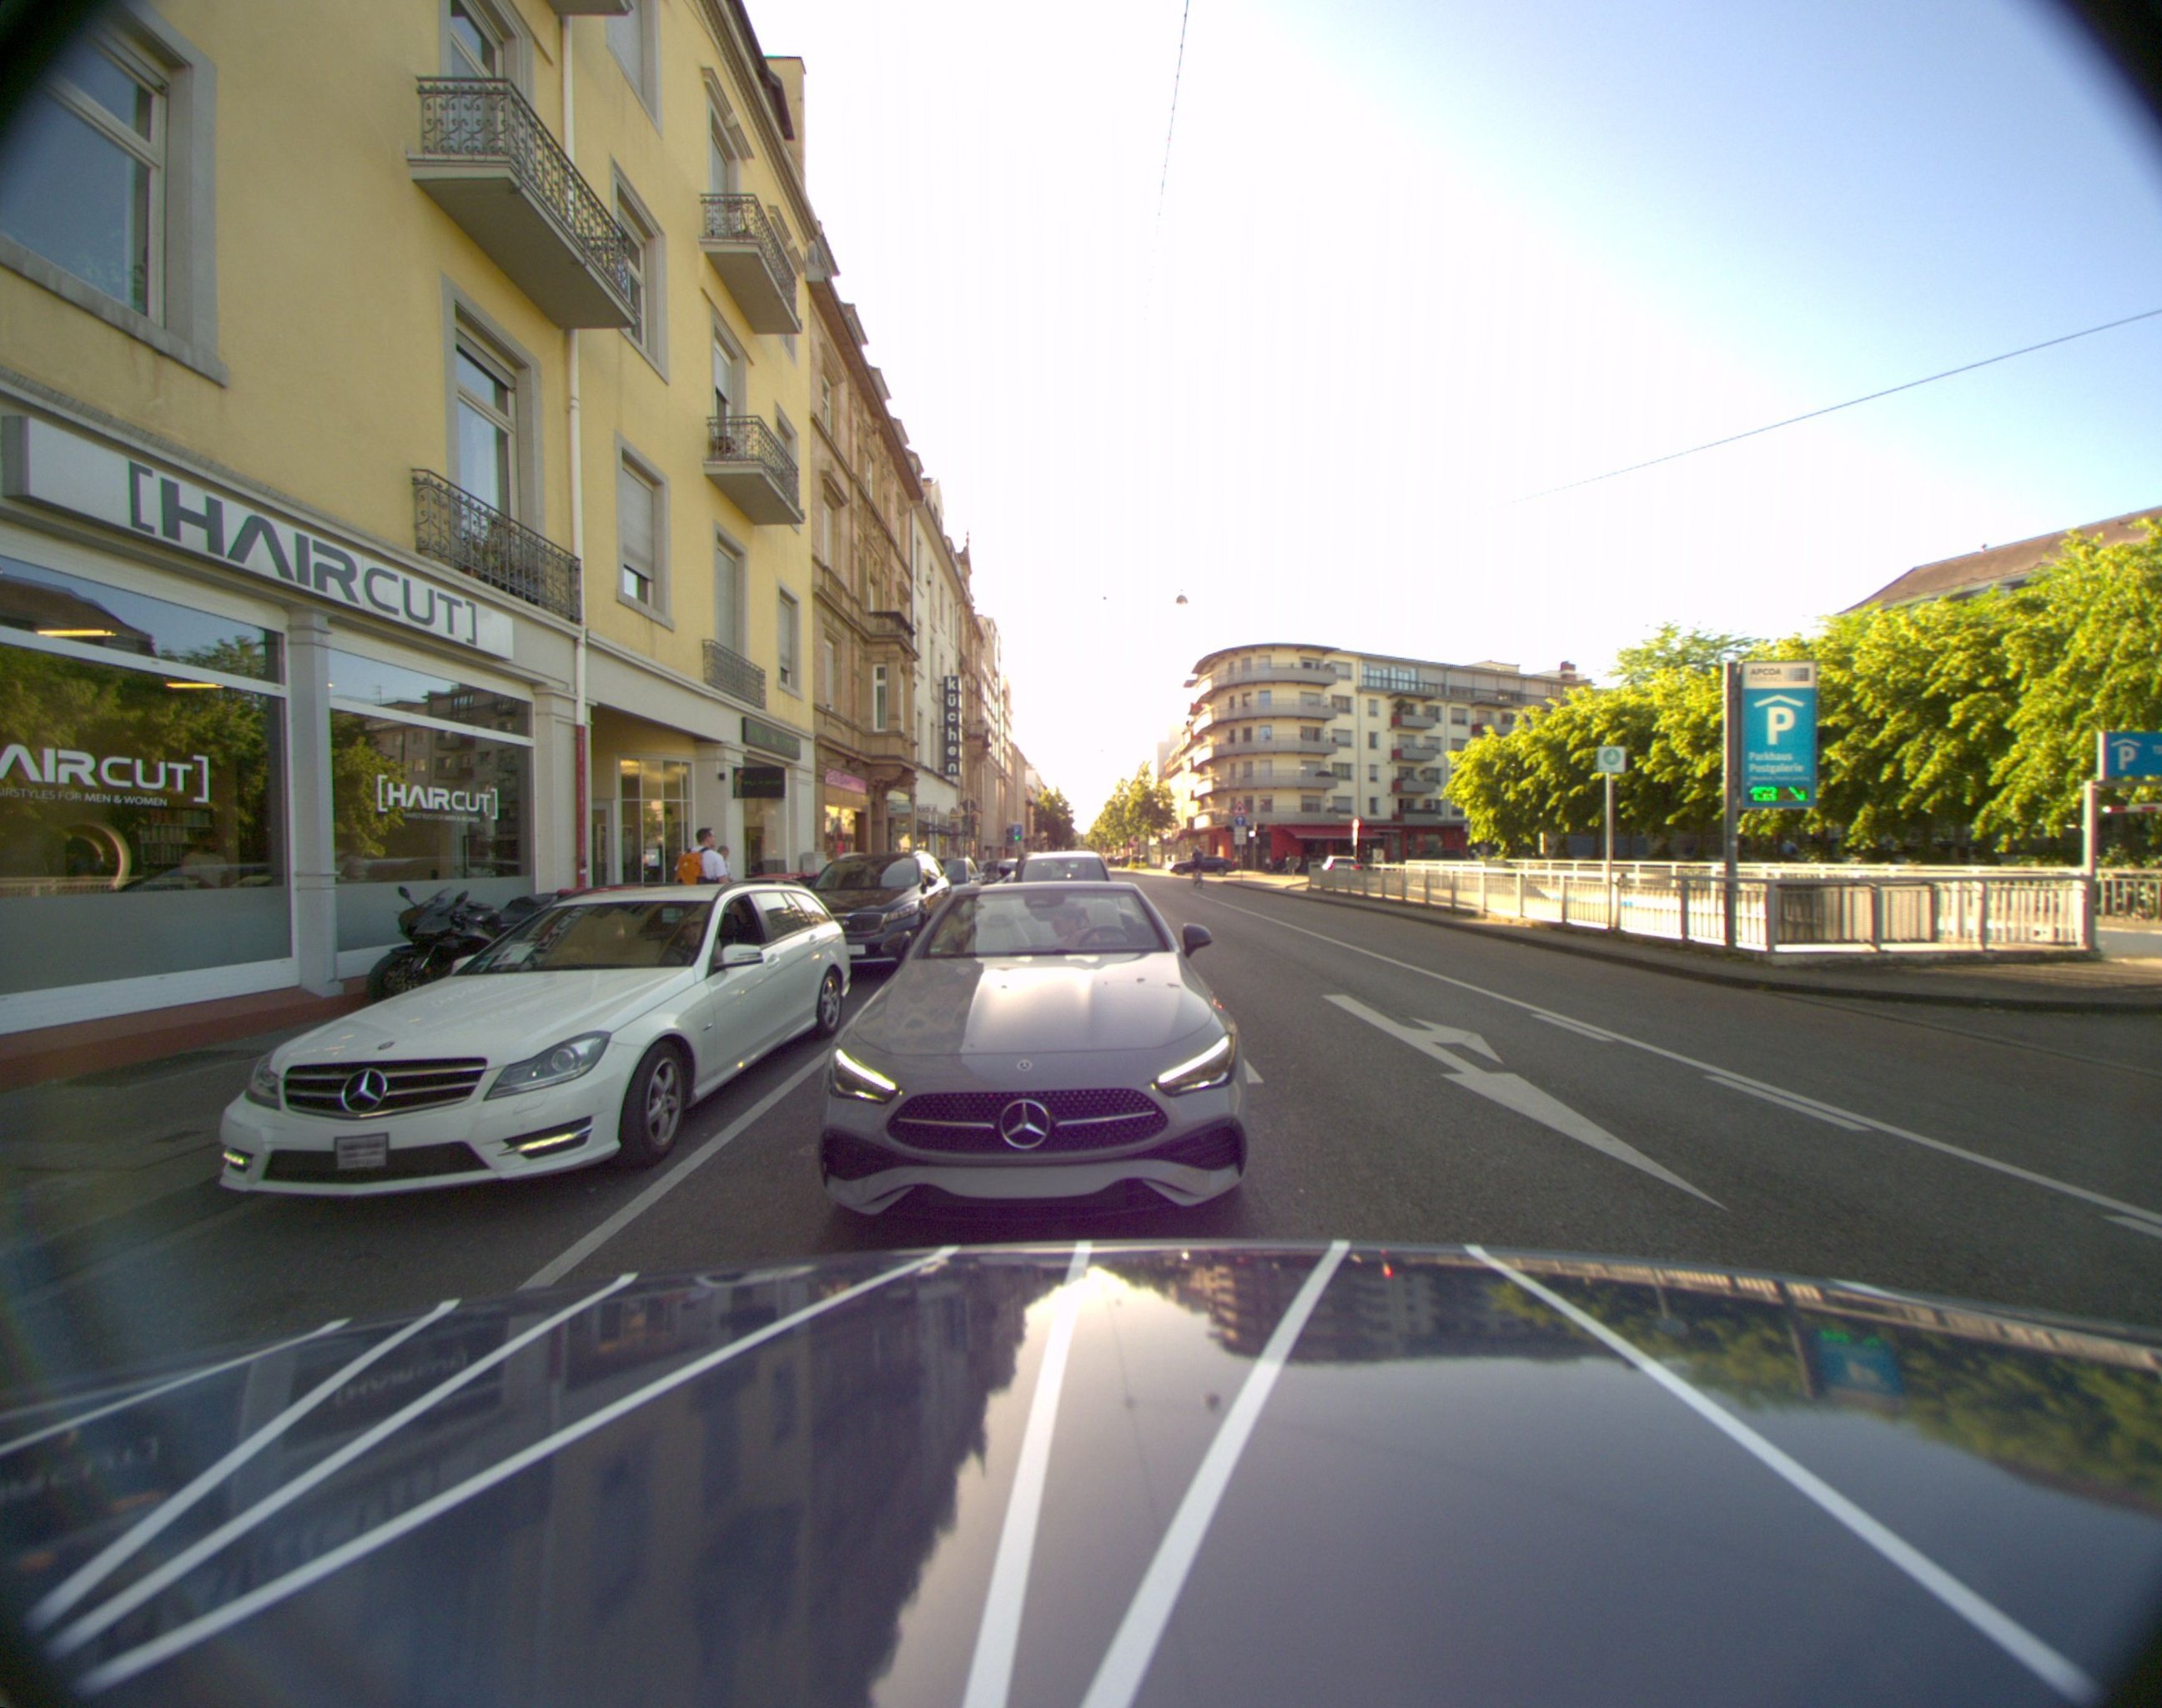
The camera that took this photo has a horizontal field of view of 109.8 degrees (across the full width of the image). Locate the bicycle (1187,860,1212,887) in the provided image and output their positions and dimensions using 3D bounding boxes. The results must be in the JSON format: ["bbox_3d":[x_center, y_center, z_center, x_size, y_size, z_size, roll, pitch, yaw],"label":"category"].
[{"bbox_3d":[5.398,0.896,34.756,0.618,1.156,1.956,0,1,-7],"label":"bicycle"}]

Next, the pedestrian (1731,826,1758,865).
[{"bbox_3d":[32.219,-0.399,36.894,0.748,1.852,0.683,-2,1,-13],"label":"pedestrian"}]

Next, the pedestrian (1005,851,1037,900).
[{"bbox_3d":[-2.198,0.771,27.717,0.836,1.709,0.821,-2,1,19],"label":"pedestrian"}]

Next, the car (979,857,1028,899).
[{"bbox_3d":[-3.025,0.899,30.318,1.695,1.482,3.796,-2,1,-3],"label":"car"}]

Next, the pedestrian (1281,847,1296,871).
[{"bbox_3d":[15.831,0.381,57.929,0.960,1.739,1.063,-2,1,21],"label":"pedestrian"}]

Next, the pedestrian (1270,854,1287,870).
[{"bbox_3d":[15.430,0.647,59.387,0.937,1.191,0.832,-3,1,-24],"label":"pedestrian"}]

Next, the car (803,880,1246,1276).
[{"bbox_3d":[-0.280,0.995,5.364,1.769,1.360,4.471,-2,1,-2],"label":"car"}]

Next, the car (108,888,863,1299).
[{"bbox_3d":[-3.025,1.070,5.253,1.672,1.364,4.377,-2,1,1],"label":"car"}]

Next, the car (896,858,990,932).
[{"bbox_3d":[-3.180,0.902,17.995,1.583,1.514,2.998,-2,1,1],"label":"car"}]

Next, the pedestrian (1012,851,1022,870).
[{"bbox_3d":[-6.020,0.648,71.414,0.826,1.750,0.823,-2,1,-1],"label":"pedestrian"}]

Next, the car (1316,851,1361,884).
[{"bbox_3d":[13.278,0.656,39.332,1.636,1.521,3.910,-2,1,10],"label":"car"}]

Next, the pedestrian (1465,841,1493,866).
[{"bbox_3d":[27.701,-0.014,52.888,1.273,1.656,1.138,-2,1,-11],"label":"pedestrian"}]

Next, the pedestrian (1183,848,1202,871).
[{"bbox_3d":[8.875,0.441,60.498,1.066,1.709,1.083,-1,1,34],"label":"pedestrian"}]

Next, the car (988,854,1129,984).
[{"bbox_3d":[-0.364,0.891,12.764,1.866,1.658,4.706,-2,1,-2],"label":"car"}]

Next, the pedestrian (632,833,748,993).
[{"bbox_3d":[-4.647,0.669,9.100,0.810,1.812,0.982,0,1,4],"label":"pedestrian"}]

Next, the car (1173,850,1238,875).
[{"bbox_3d":[8.638,0.568,52.465,4.242,1.521,1.678,-2,1,14],"label":"car"}]

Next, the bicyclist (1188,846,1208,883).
[{"bbox_3d":[5.371,0.474,34.854,0.703,1.700,0.809,0,1,-5],"label":"bicyclist"}]

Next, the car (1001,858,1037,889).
[{"bbox_3d":[-2.953,0.896,36.687,1.461,1.310,3.363,-2,1,-1],"label":"car"}]

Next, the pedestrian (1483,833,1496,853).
[{"bbox_3d":[38.367,-1.010,71.384,0.747,1.832,0.684,-2,1,1],"label":"pedestrian"}]

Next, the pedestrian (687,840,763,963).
[{"bbox_3d":[-5.663,0.726,12.096,0.975,1.866,0.534,-3,1,-31],"label":"pedestrian"}]

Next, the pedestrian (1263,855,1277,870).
[{"bbox_3d":[14.924,0.659,60.045,0.780,1.191,0.884,-2,1,-10],"label":"pedestrian"}]

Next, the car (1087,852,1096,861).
[{"bbox_3d":[2.223,0.594,161.257,1.836,1.831,3.886,1,1,-2],"label":"car"}]

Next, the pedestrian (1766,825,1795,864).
[{"bbox_3d":[33.541,-0.434,36.424,0.748,1.832,0.683,-2,1,-13],"label":"pedestrian"}]

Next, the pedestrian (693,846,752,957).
[{"bbox_3d":[-6.147,0.791,13.066,0.630,1.826,0.770,-2,1,-7],"label":"pedestrian"}]

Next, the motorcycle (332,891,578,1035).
[{"bbox_3d":[-6.254,1.021,7.795,0.735,1.124,2.109,2,1,1],"label":"motorcycle"}]

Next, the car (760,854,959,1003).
[{"bbox_3d":[-3.011,0.887,11.344,1.806,1.680,4.408,-2,1,-3],"label":"car"}]

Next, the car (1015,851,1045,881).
[{"bbox_3d":[-3.151,0.711,47.554,1.695,1.670,3.880,-2,1,-3],"label":"car"}]

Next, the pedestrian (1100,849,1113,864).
[{"bbox_3d":[3.250,0.363,95.695,1.220,1.826,1.205,-2,1,21],"label":"pedestrian"}]

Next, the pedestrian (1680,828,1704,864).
[{"bbox_3d":[31.802,-0.433,39.542,0.748,1.832,0.683,-3,1,-21],"label":"pedestrian"}]

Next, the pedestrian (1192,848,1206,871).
[{"bbox_3d":[9.948,0.478,64.143,0.990,1.908,0.790,-2,1,-3],"label":"pedestrian"}]

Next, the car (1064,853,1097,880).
[{"bbox_3d":[-0.063,0.702,44.485,1.695,1.437,3.575,-2,1,-3],"label":"car"}]

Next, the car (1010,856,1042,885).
[{"bbox_3d":[-2.941,0.861,40.956,1.461,1.391,3.362,-2,1,-1],"label":"car"}]

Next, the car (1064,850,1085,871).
[{"bbox_3d":[-0.557,0.522,62.811,1.695,1.635,3.599,-2,1,-1],"label":"car"}]
